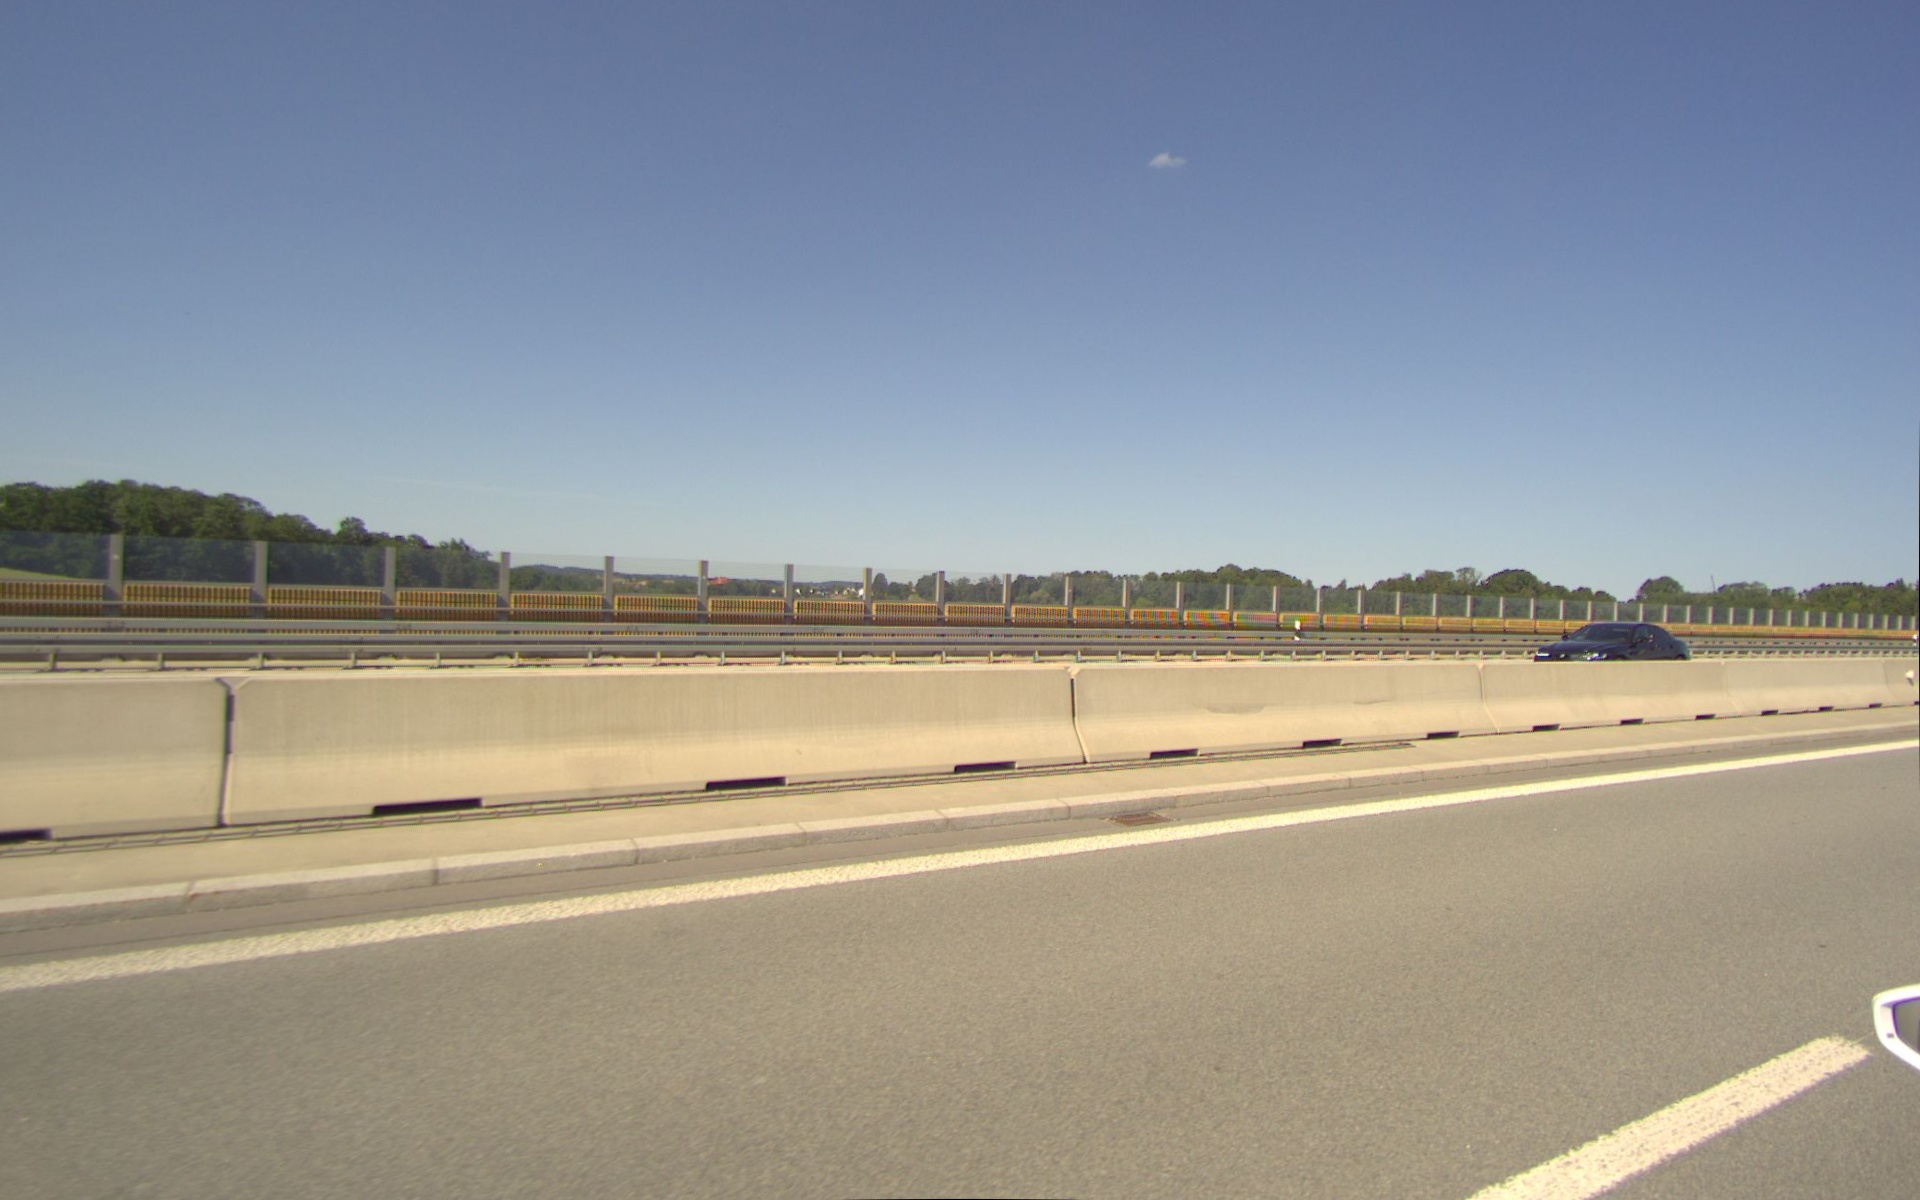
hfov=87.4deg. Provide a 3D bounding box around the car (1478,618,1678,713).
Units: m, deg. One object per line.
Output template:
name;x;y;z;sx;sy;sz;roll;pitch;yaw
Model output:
car;14.625;1.489;23.711;4.703;2.040;1.985;2;-1;-29
